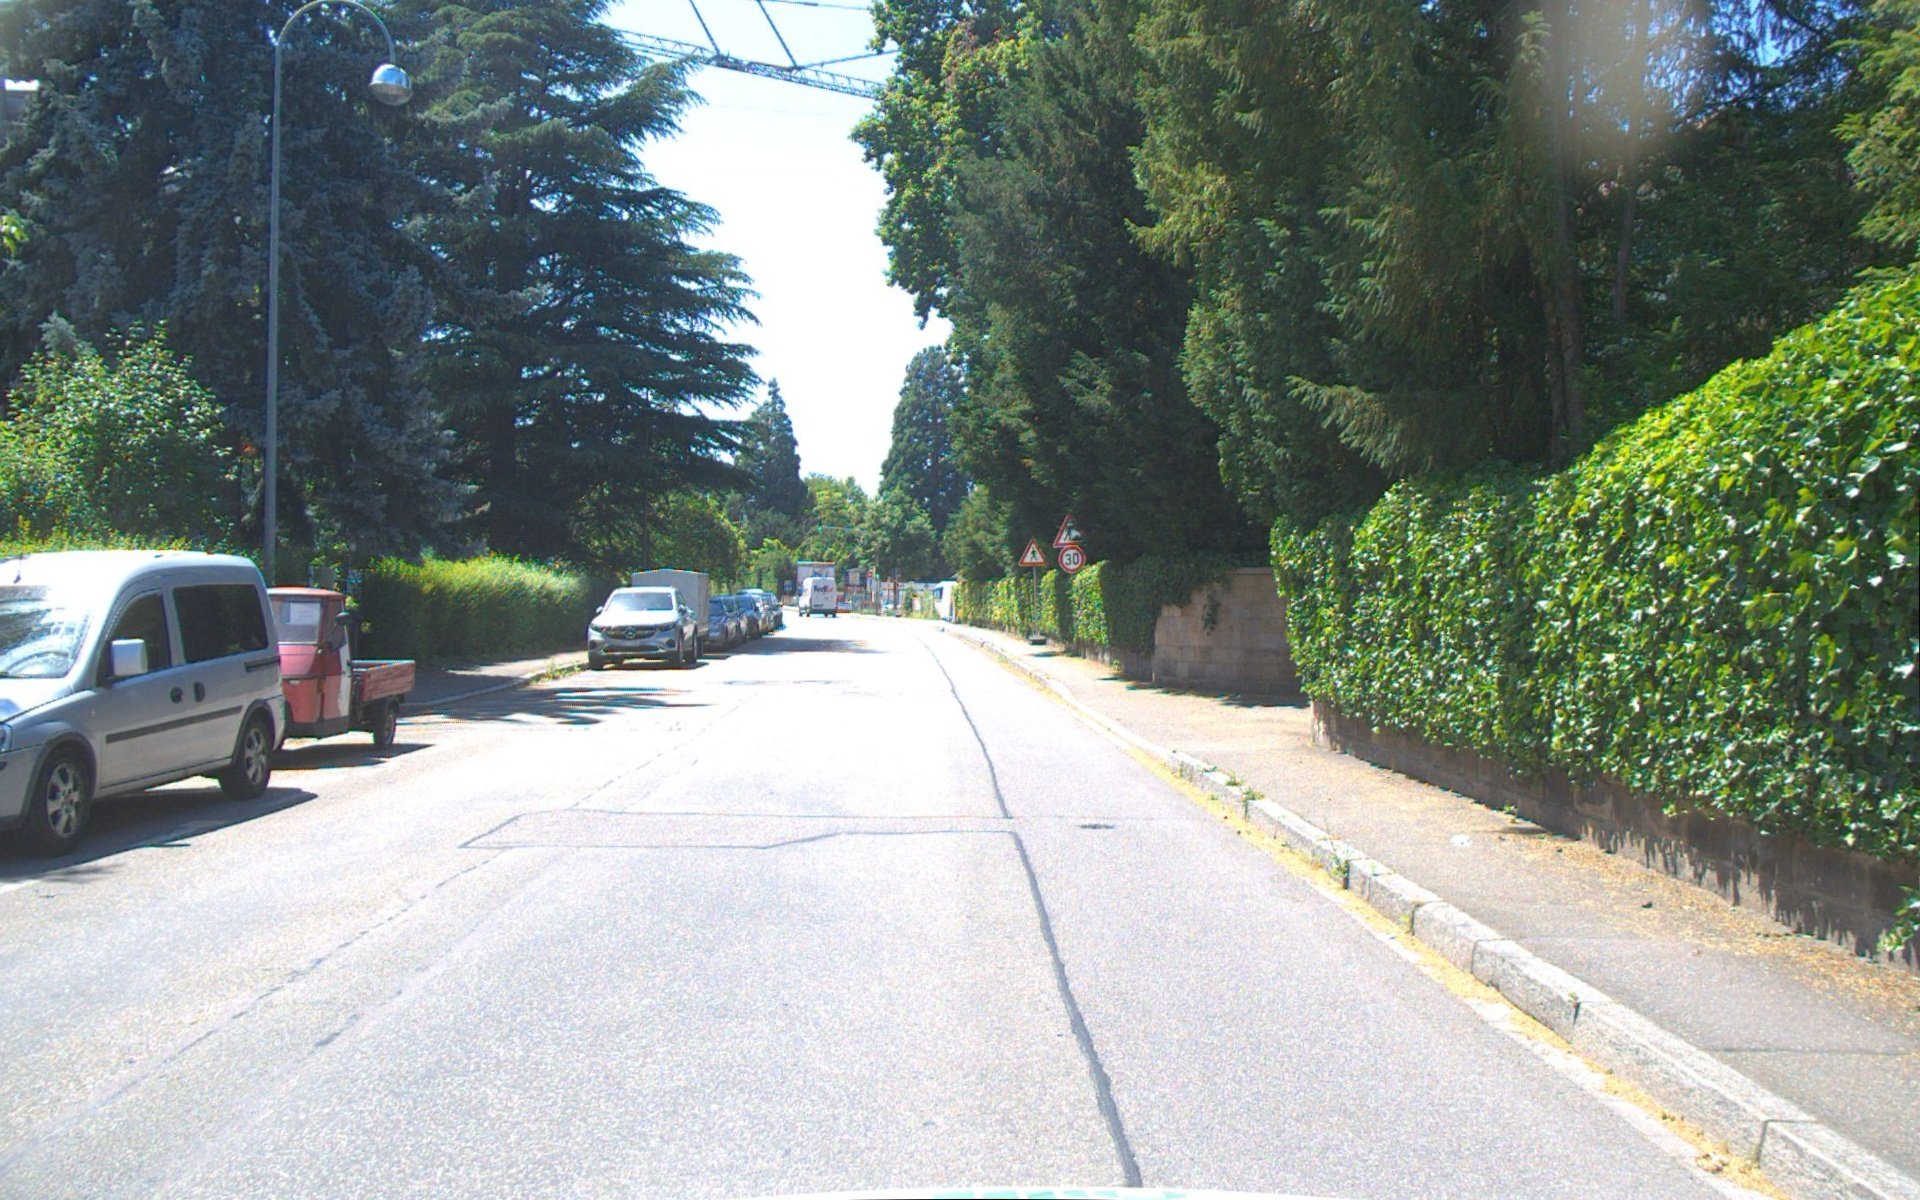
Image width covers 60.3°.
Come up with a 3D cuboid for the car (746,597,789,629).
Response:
[{"bbox_3d":[-8.969,0.599,77.376,1.654,1.470,4.134,0,0,-2],"label":"car"}]

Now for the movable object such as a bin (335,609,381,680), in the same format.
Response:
[{"bbox_3d":[-9.657,0.710,26.541,0.476,1.084,0.616,4,0,-4],"label":"movable object such as a bin"}]

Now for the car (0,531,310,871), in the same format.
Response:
[{"bbox_3d":[-5.853,0.535,10.680,1.614,1.782,4.354,0,0,-1],"label":"car"}]

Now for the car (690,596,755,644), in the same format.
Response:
[{"bbox_3d":[-7.257,0.591,50.884,1.551,1.414,3.881,0,0,-2],"label":"car"}]

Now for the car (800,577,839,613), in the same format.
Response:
[{"bbox_3d":[-9.422,-0.351,110.758,2.105,2.356,4.839,-1,0,-11],"label":"car"}]

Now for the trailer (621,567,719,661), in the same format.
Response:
[{"bbox_3d":[-6.856,0.319,39.457,1.811,2.076,4.160,-1,0,-4],"label":"trailer"}]

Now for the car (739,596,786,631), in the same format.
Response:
[{"bbox_3d":[-8.590,0.581,72.083,1.654,1.470,4.134,0,0,-2],"label":"car"}]

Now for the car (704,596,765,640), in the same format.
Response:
[{"bbox_3d":[-7.661,0.586,56.529,1.654,1.470,4.134,0,0,-2],"label":"car"}]

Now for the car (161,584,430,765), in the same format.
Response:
[{"bbox_3d":[-6.179,0.637,15.670,1.383,1.529,2.840,-1,0,-1],"label":"car"}]

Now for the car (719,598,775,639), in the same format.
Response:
[{"bbox_3d":[-7.834,0.663,61.086,1.654,1.470,4.134,0,0,-2],"label":"car"}]

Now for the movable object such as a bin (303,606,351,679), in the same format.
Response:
[{"bbox_3d":[-10.135,0.672,26.482,0.476,1.101,0.641,4,0,-4],"label":"movable object such as a bin"}]

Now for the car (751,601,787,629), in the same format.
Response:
[{"bbox_3d":[-10.455,0.821,90.761,1.654,1.470,4.134,0,0,-2],"label":"car"}]

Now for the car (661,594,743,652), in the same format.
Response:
[{"bbox_3d":[-6.988,0.596,45.129,1.675,1.464,4.320,-1,0,-2],"label":"car"}]

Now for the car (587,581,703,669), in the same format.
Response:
[{"bbox_3d":[-6.578,0.502,35.025,1.814,1.700,4.709,-1,0,-4],"label":"car"}]
